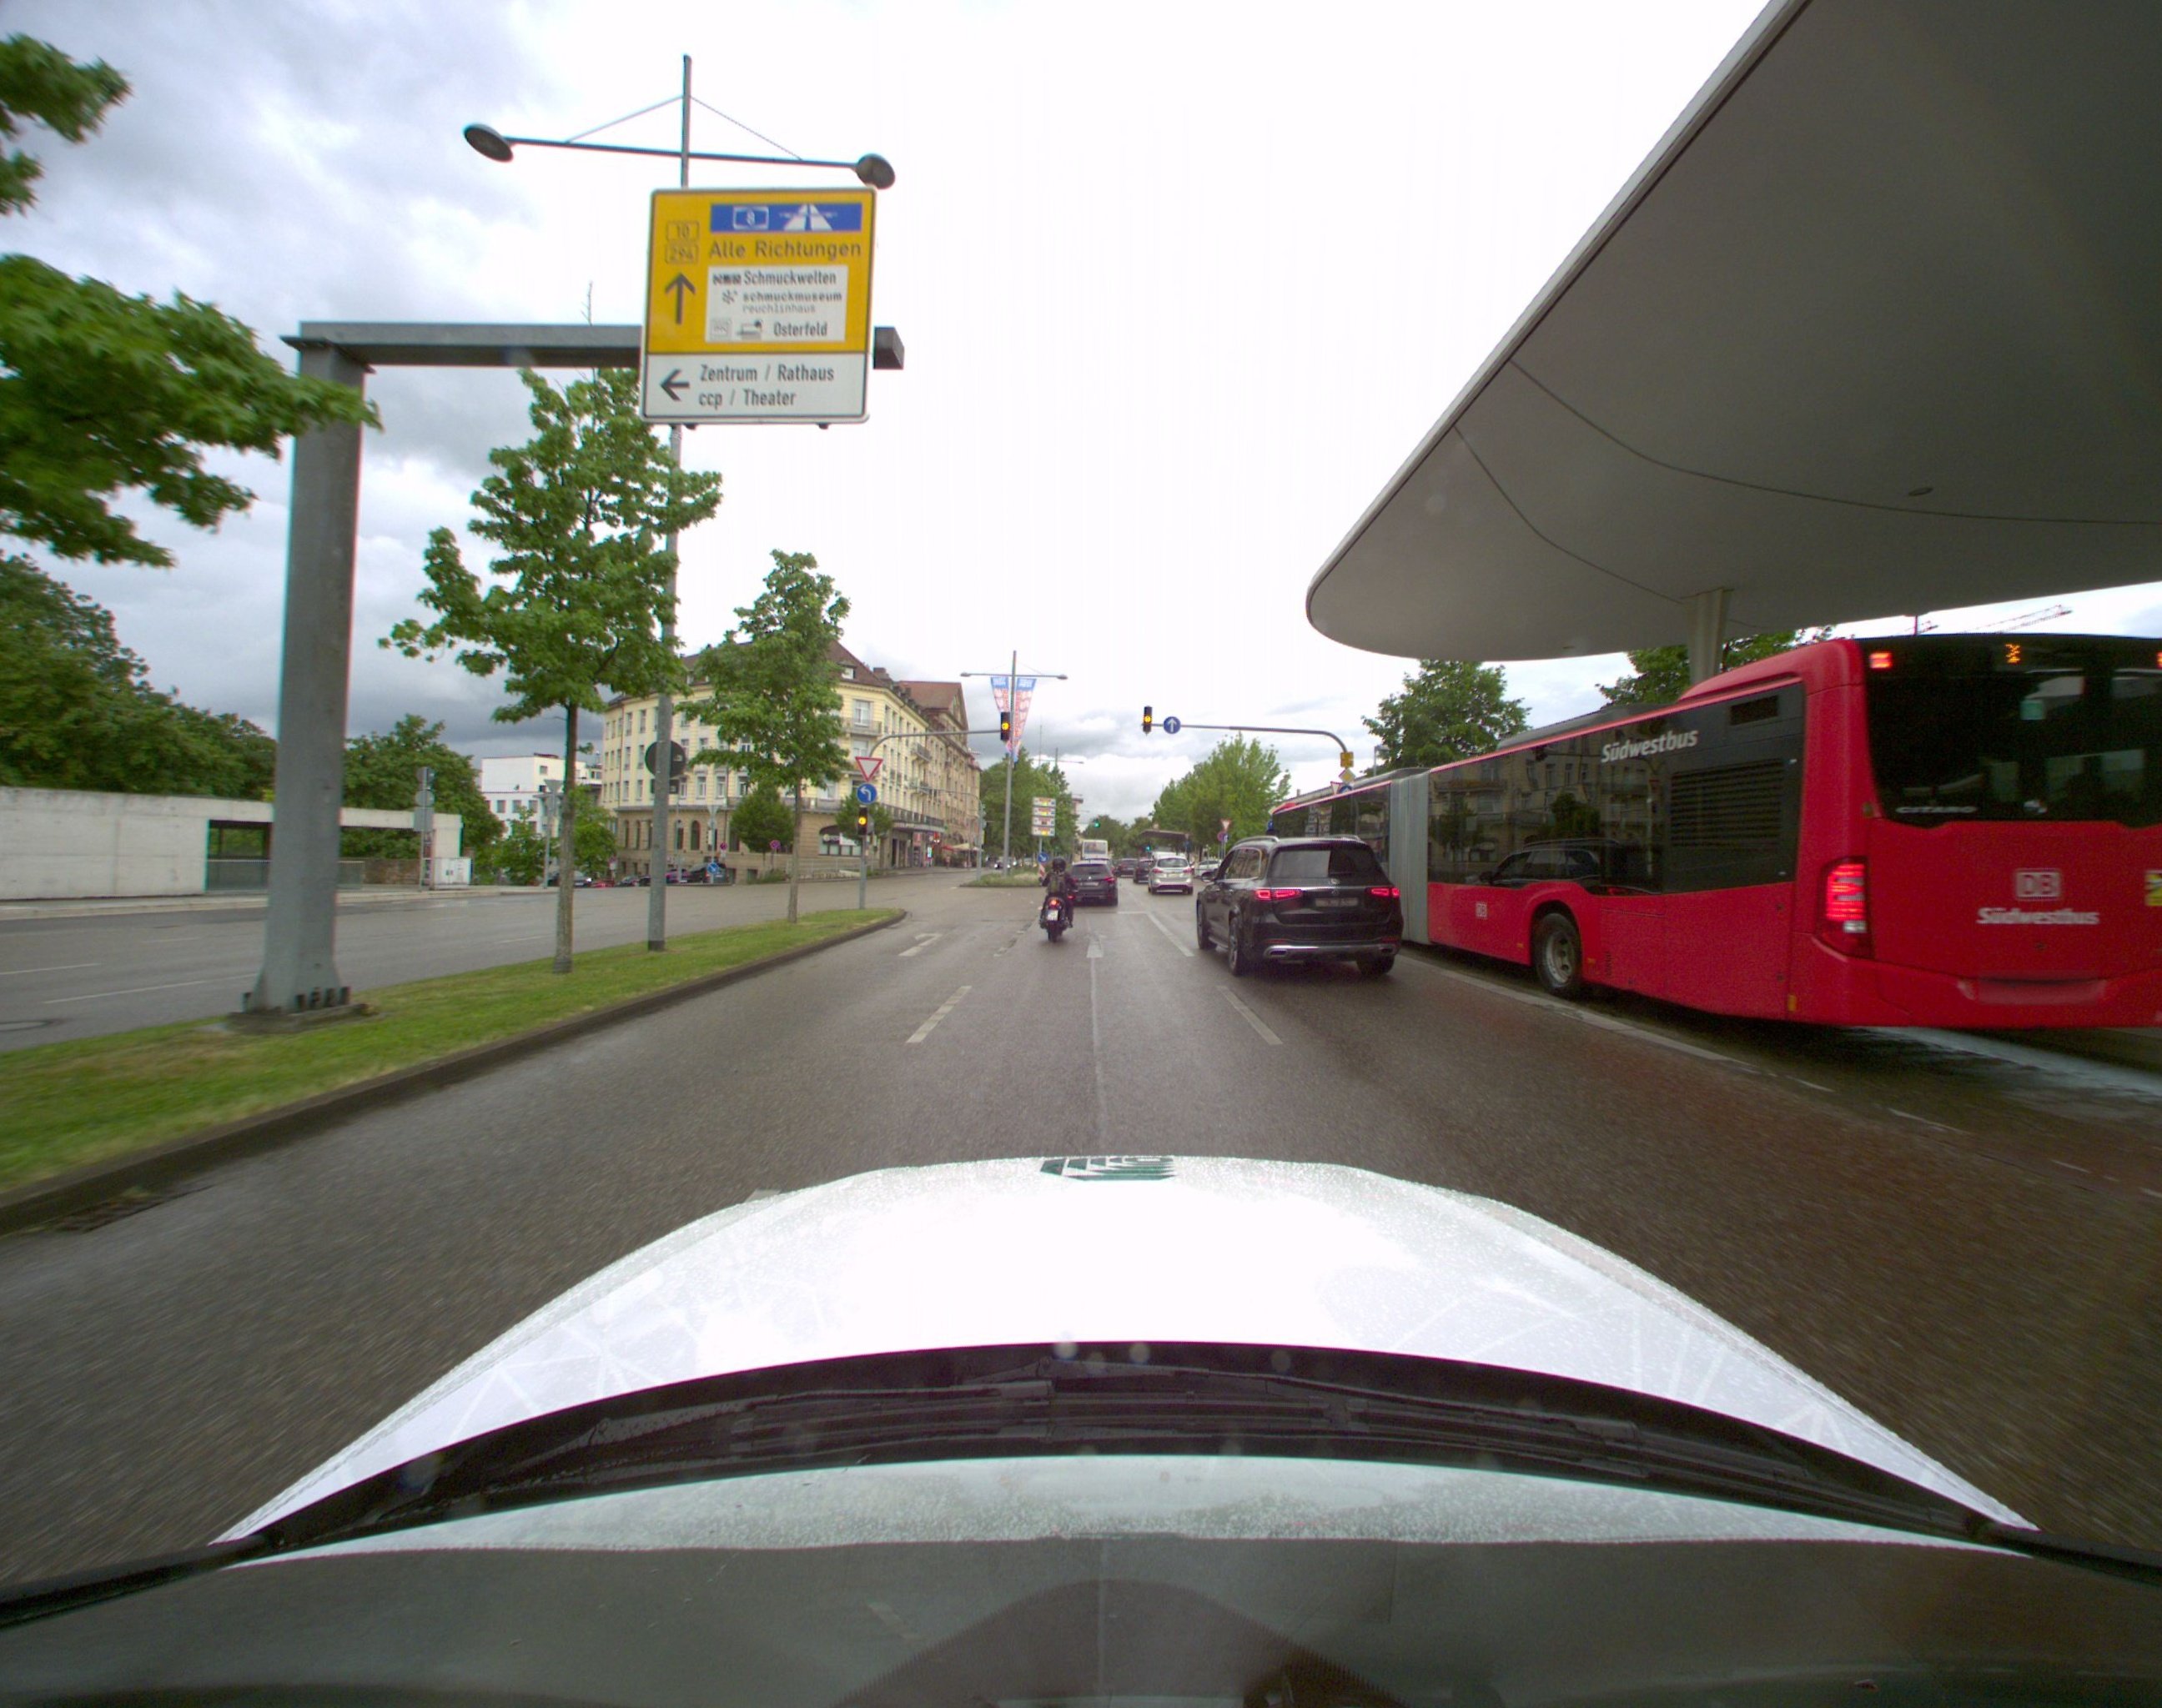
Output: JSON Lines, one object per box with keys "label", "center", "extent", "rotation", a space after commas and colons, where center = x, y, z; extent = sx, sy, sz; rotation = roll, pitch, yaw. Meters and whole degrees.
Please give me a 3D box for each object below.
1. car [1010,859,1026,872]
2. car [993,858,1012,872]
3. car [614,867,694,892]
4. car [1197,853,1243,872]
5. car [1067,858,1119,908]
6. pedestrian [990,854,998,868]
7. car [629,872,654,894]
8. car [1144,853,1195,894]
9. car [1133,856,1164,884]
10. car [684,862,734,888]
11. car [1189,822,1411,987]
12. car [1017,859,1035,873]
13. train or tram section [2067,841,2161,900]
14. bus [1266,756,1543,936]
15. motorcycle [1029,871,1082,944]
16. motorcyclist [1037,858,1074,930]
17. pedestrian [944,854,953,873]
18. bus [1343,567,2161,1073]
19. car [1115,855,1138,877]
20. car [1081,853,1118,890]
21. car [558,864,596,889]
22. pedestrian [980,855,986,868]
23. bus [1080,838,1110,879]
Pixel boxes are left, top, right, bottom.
{"label": "car", "center": [-7.916, 1.463, 102.523], "extent": [1.570, 1.567, 3.430], "rotation": [-1, 0, 1]}
{"label": "car", "center": [-9.249, 1.250, 96.049], "extent": [1.774, 1.567, 3.430], "rotation": [-1, 0, 1]}
{"label": "car", "center": [-28.547, 1.683, 54.532], "extent": [4.394, 1.570, 1.814], "rotation": [-1, 0, -13]}
{"label": "car", "center": [11.754, 0.753, 69.044], "extent": [1.588, 1.567, 3.752], "rotation": [-1, -1, -38]}
{"label": "car", "center": [0.428, 0.908, 27.145], "extent": [1.570, 1.504, 3.872], "rotation": [-1, 0, 1]}
{"label": "pedestrian", "center": [-11.638, 0.927, 109.030], "extent": [0.727, 1.966, 0.819], "rotation": [0, -1, -26]}
{"label": "car", "center": [-35.652, 2.289, 66.005], "extent": [1.668, 1.604, 3.221], "rotation": [-2, 1, -30]}
{"label": "car", "center": [3.646, 0.788, 34.007], "extent": [1.735, 1.567, 3.871], "rotation": [-1, 0, 1]}
{"label": "car", "center": [3.983, 0.944, 48.570], "extent": [1.570, 1.567, 3.871], "rotation": [-1, 0, 1]}
{"label": "car", "center": [-27.107, 1.483, 59.285], "extent": [2.131, 1.776, 4.339], "rotation": [1, -1, -42]}
{"label": "car", "center": [2.876, 0.601, 11.927], "extent": [1.951, 1.876, 4.873], "rotation": [-1, 0, 1]}
{"label": "car", "center": [-6.310, 1.388, 94.397], "extent": [1.774, 1.567, 3.430], "rotation": [-1, 0, 1]}
{"label": "train or tram section", "center": [71.488, 1.106, 51.554], "extent": [3.121, 3.659, 12.321], "rotation": [4, 0, 0]}
{"label": "bus", "center": [6.932, -0.113, 19.374], "extent": [3.279, 3.289, 8.851], "rotation": [0, -1, 1]}
{"label": "motorcycle", "center": [-0.453, 0.979, 15.443], "extent": [0.789, 1.262, 1.857], "rotation": [-1, 0, 4]}
{"label": "motorcyclist", "center": [-0.477, 0.743, 15.503], "extent": [0.638, 1.347, 0.689], "rotation": [0, -1, 4]}
{"label": "pedestrian", "center": [-14.460, 1.033, 88.983], "extent": [0.727, 2.014, 0.819], "rotation": [0, -1, -26]}
{"label": "bus", "center": [6.699, -0.185, 10.730], "extent": [3.274, 3.292, 10.880], "rotation": [0, 0, 1]}
{"label": "car", "center": [3.459, 0.889, 62.177], "extent": [1.570, 1.567, 3.796], "rotation": [-1, 0, 1]}
{"label": "car", "center": [0.834, 0.767, 37.067], "extent": [1.570, 1.567, 3.871], "rotation": [-1, 0, 1]}
{"label": "car", "center": [-33.529, 1.485, 54.155], "extent": [2.008, 1.585, 3.439], "rotation": [0, -1, -35]}
{"label": "pedestrian", "center": [-13.117, 1.024, 108.673], "extent": [0.555, 1.778, 0.502], "rotation": [-1, -1, 35]}
{"label": "bus", "center": [1.411, 0.509, 84.685], "extent": [2.828, 3.988, 11.861], "rotation": [1, -1, 0]}
